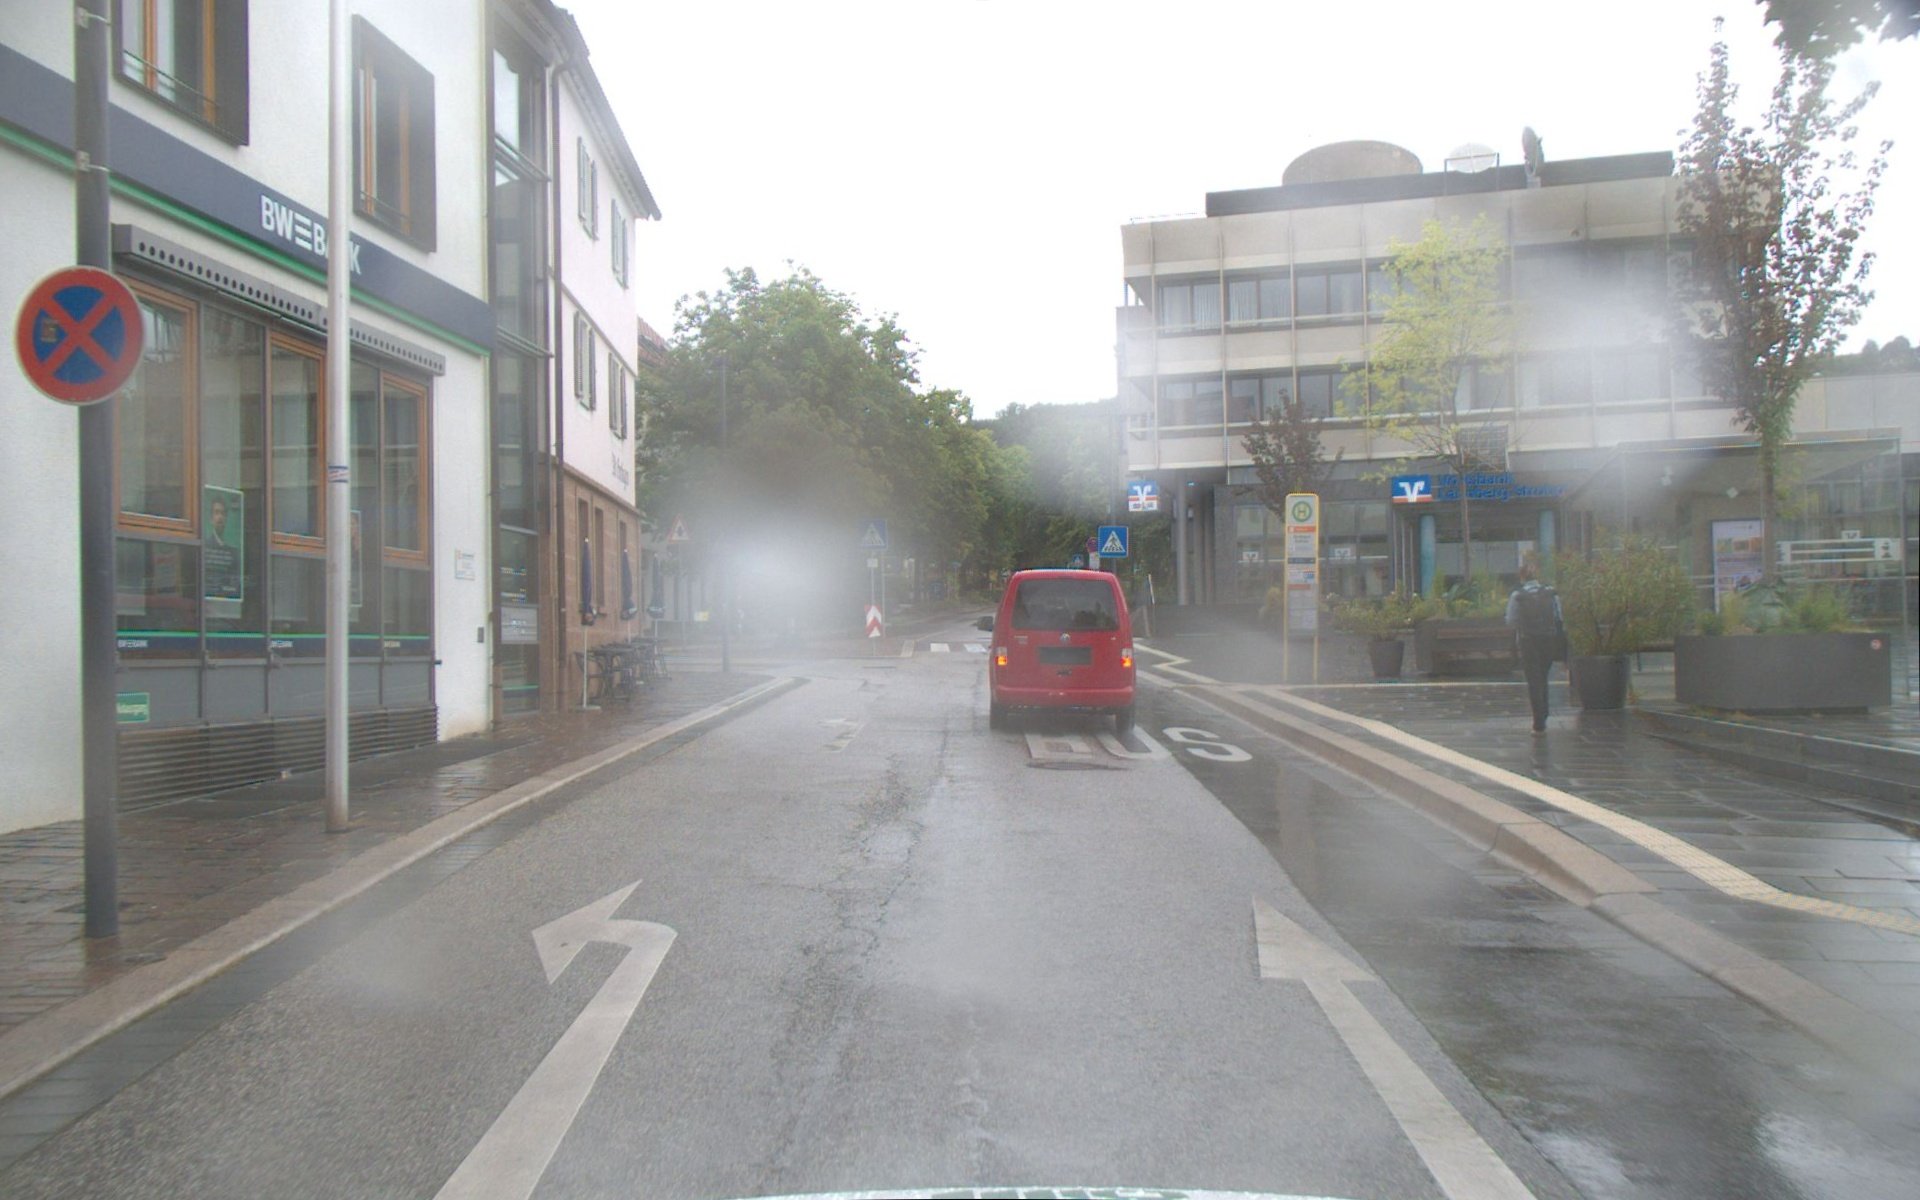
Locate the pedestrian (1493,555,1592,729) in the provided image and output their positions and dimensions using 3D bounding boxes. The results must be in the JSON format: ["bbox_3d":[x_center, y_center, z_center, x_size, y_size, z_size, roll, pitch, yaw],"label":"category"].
[{"bbox_3d":[5.695,0.411,16.201,0.712,1.645,0.694,-2,-1,5],"label":"pedestrian"}]

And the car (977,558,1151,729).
[{"bbox_3d":[1.179,0.506,20.505,1.824,1.863,4.184,-1,-1,-1],"label":"car"}]
